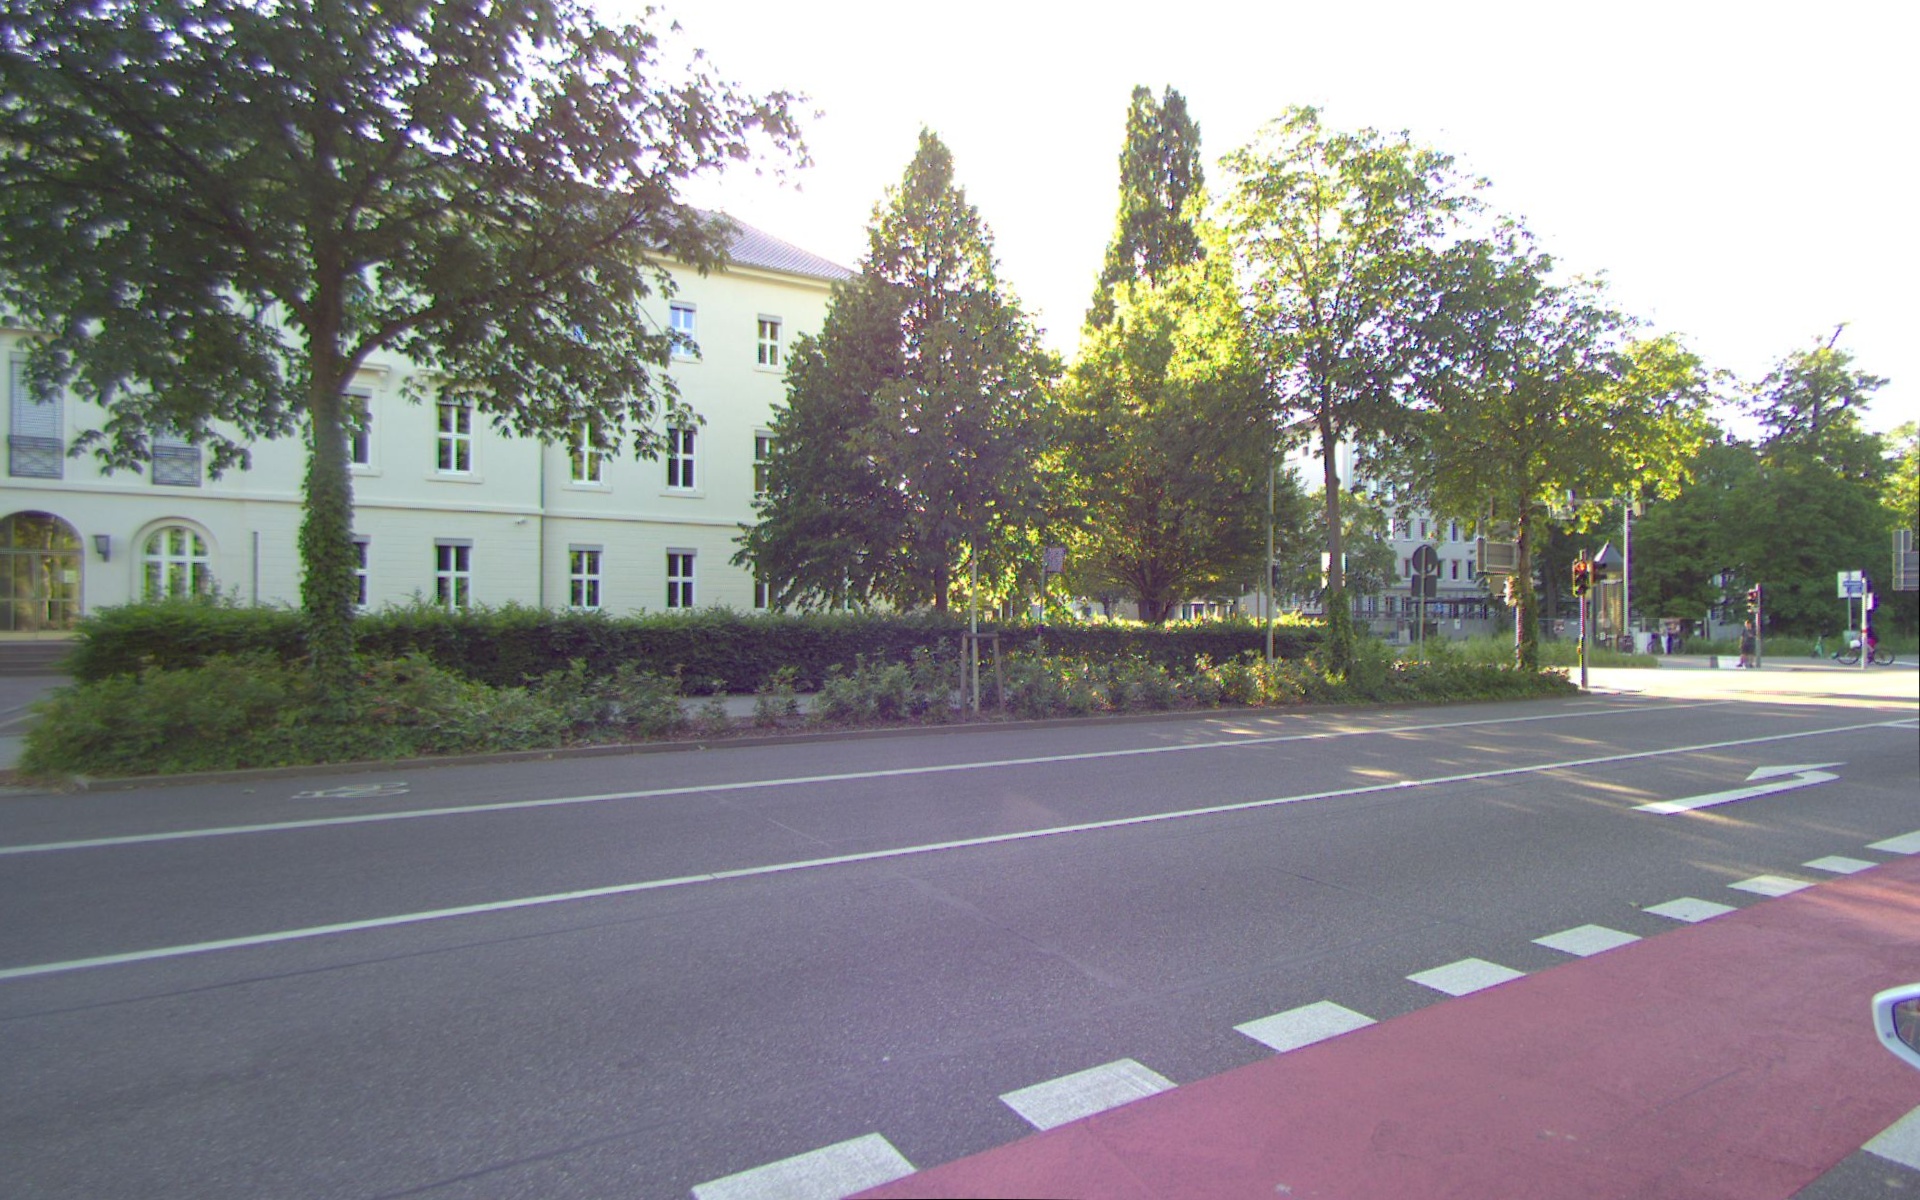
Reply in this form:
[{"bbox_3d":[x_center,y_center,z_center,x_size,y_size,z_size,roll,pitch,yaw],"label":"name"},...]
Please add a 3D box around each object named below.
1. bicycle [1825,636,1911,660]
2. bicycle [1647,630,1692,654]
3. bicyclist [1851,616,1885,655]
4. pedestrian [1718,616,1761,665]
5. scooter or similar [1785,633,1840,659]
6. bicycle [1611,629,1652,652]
[{"bbox_3d":[38.960,2.029,43.140,2.671,1.002,0.579,-2,-2,37],"label":"bicycle"},{"bbox_3d":[35.858,2.111,50.768,0.288,1.163,1.849,1,0,-36],"label":"bicycle"},{"bbox_3d":[38.981,1.532,43.137,0.962,1.627,0.874,-1,-2,37],"label":"bicyclist"},{"bbox_3d":[32.839,1.697,42.330,1.175,2.040,0.992,1,0,-25],"label":"pedestrian"},{"bbox_3d":[39.901,2.131,47.028,1.882,1.139,0.713,1,0,3],"label":"scooter or similar"},{"bbox_3d":[35.158,2.112,52.603,0.436,1.163,1.858,1,0,-22],"label":"bicycle"}]
